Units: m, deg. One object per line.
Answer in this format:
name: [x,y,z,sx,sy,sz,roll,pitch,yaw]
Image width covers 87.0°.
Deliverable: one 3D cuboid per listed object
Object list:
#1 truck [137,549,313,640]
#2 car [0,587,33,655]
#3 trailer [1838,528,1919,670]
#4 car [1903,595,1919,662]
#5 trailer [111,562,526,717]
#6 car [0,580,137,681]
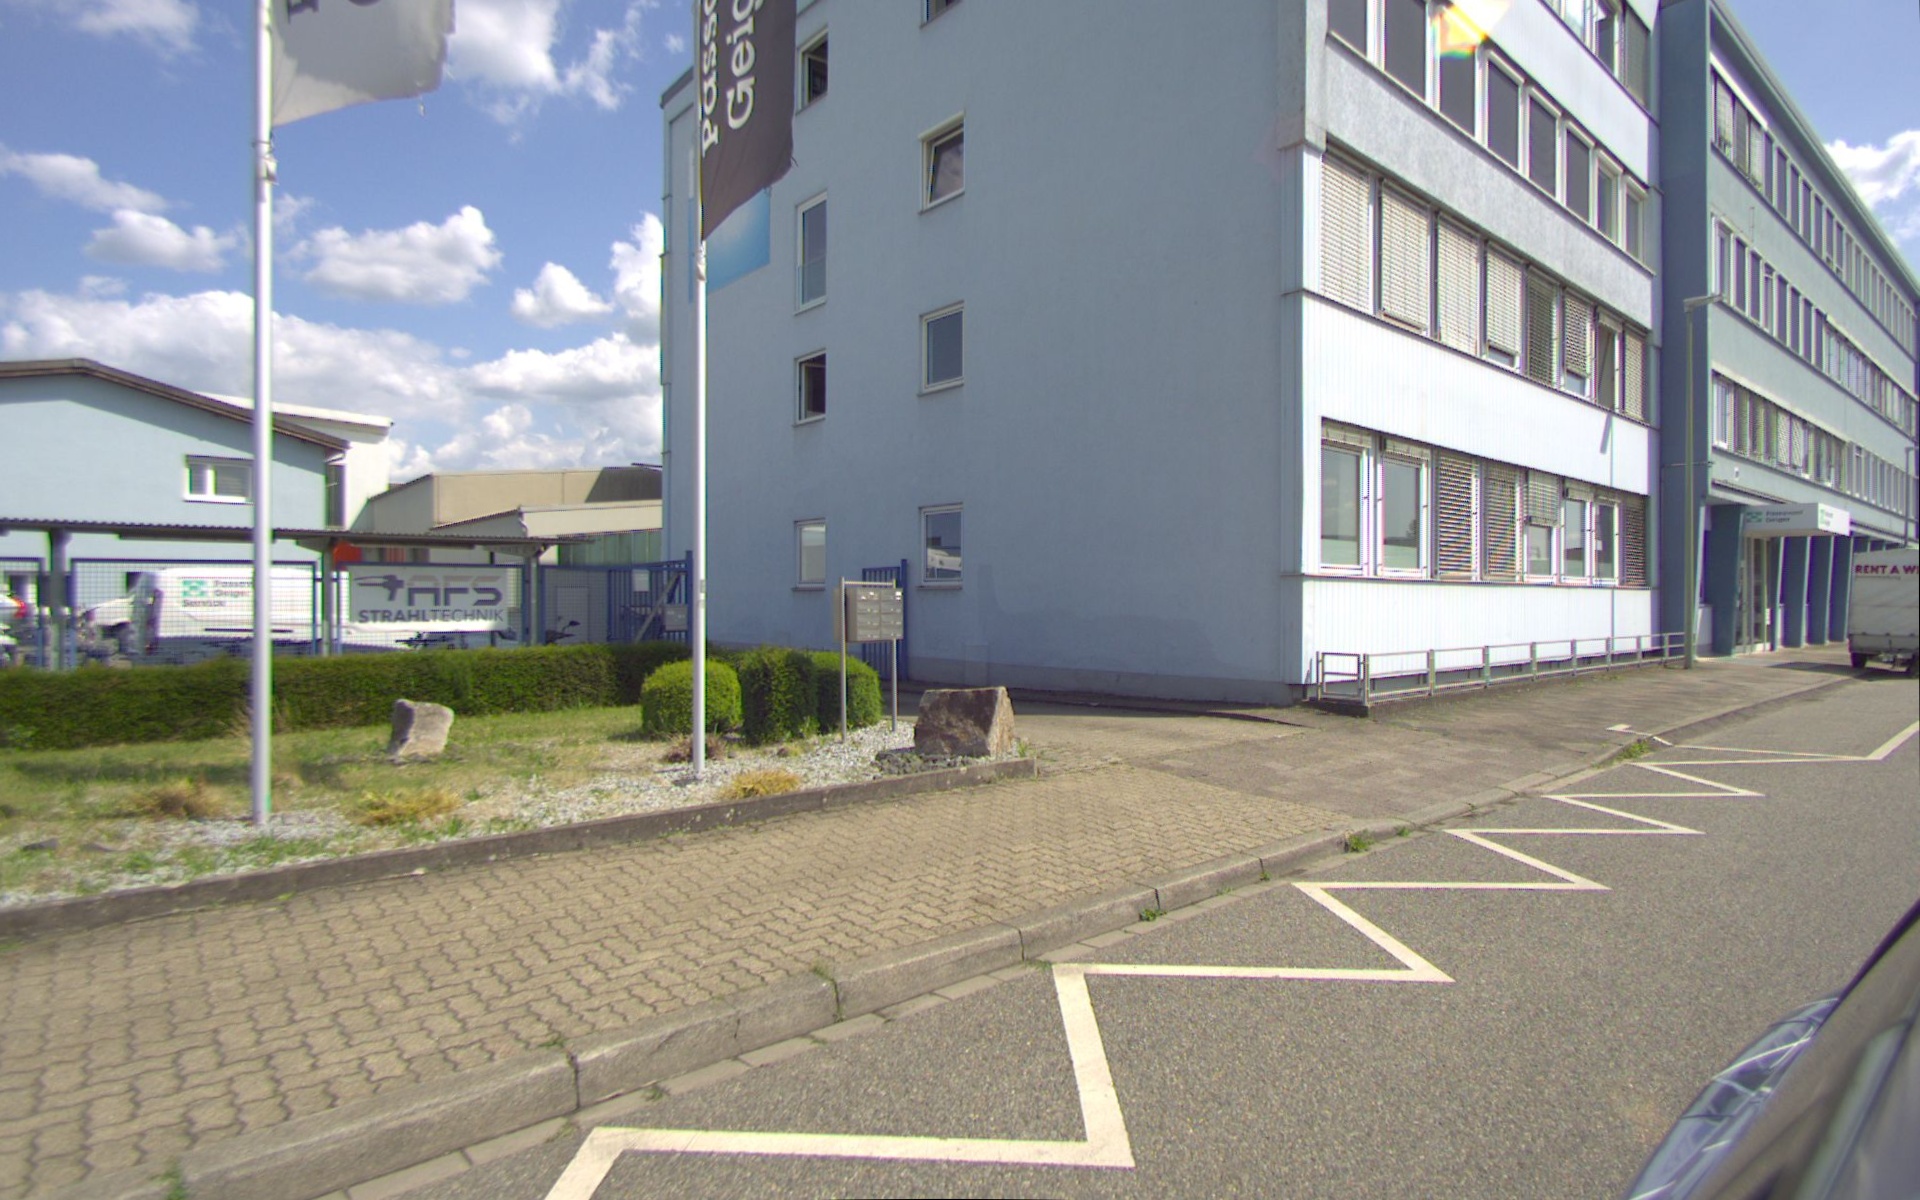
truck: [-20.832,-0.150,28.750,3.929,2.394,1.997,-1,-1,-40]
car: [-25.887,0.570,25.288,3.930,1.723,1.858,-1,-1,-41]
trailer: [19.365,-0.024,20.195,4.979,2.585,1.873,0,0,-38]
car: [24.493,0.635,24.641,4.325,1.562,1.721,-1,-1,-40]
trailer: [-9.650,0.497,15.606,5.191,2.010,1.686,0,0,-44]
car: [-18.259,0.564,18.712,4.631,1.827,1.995,-1,0,-43]
